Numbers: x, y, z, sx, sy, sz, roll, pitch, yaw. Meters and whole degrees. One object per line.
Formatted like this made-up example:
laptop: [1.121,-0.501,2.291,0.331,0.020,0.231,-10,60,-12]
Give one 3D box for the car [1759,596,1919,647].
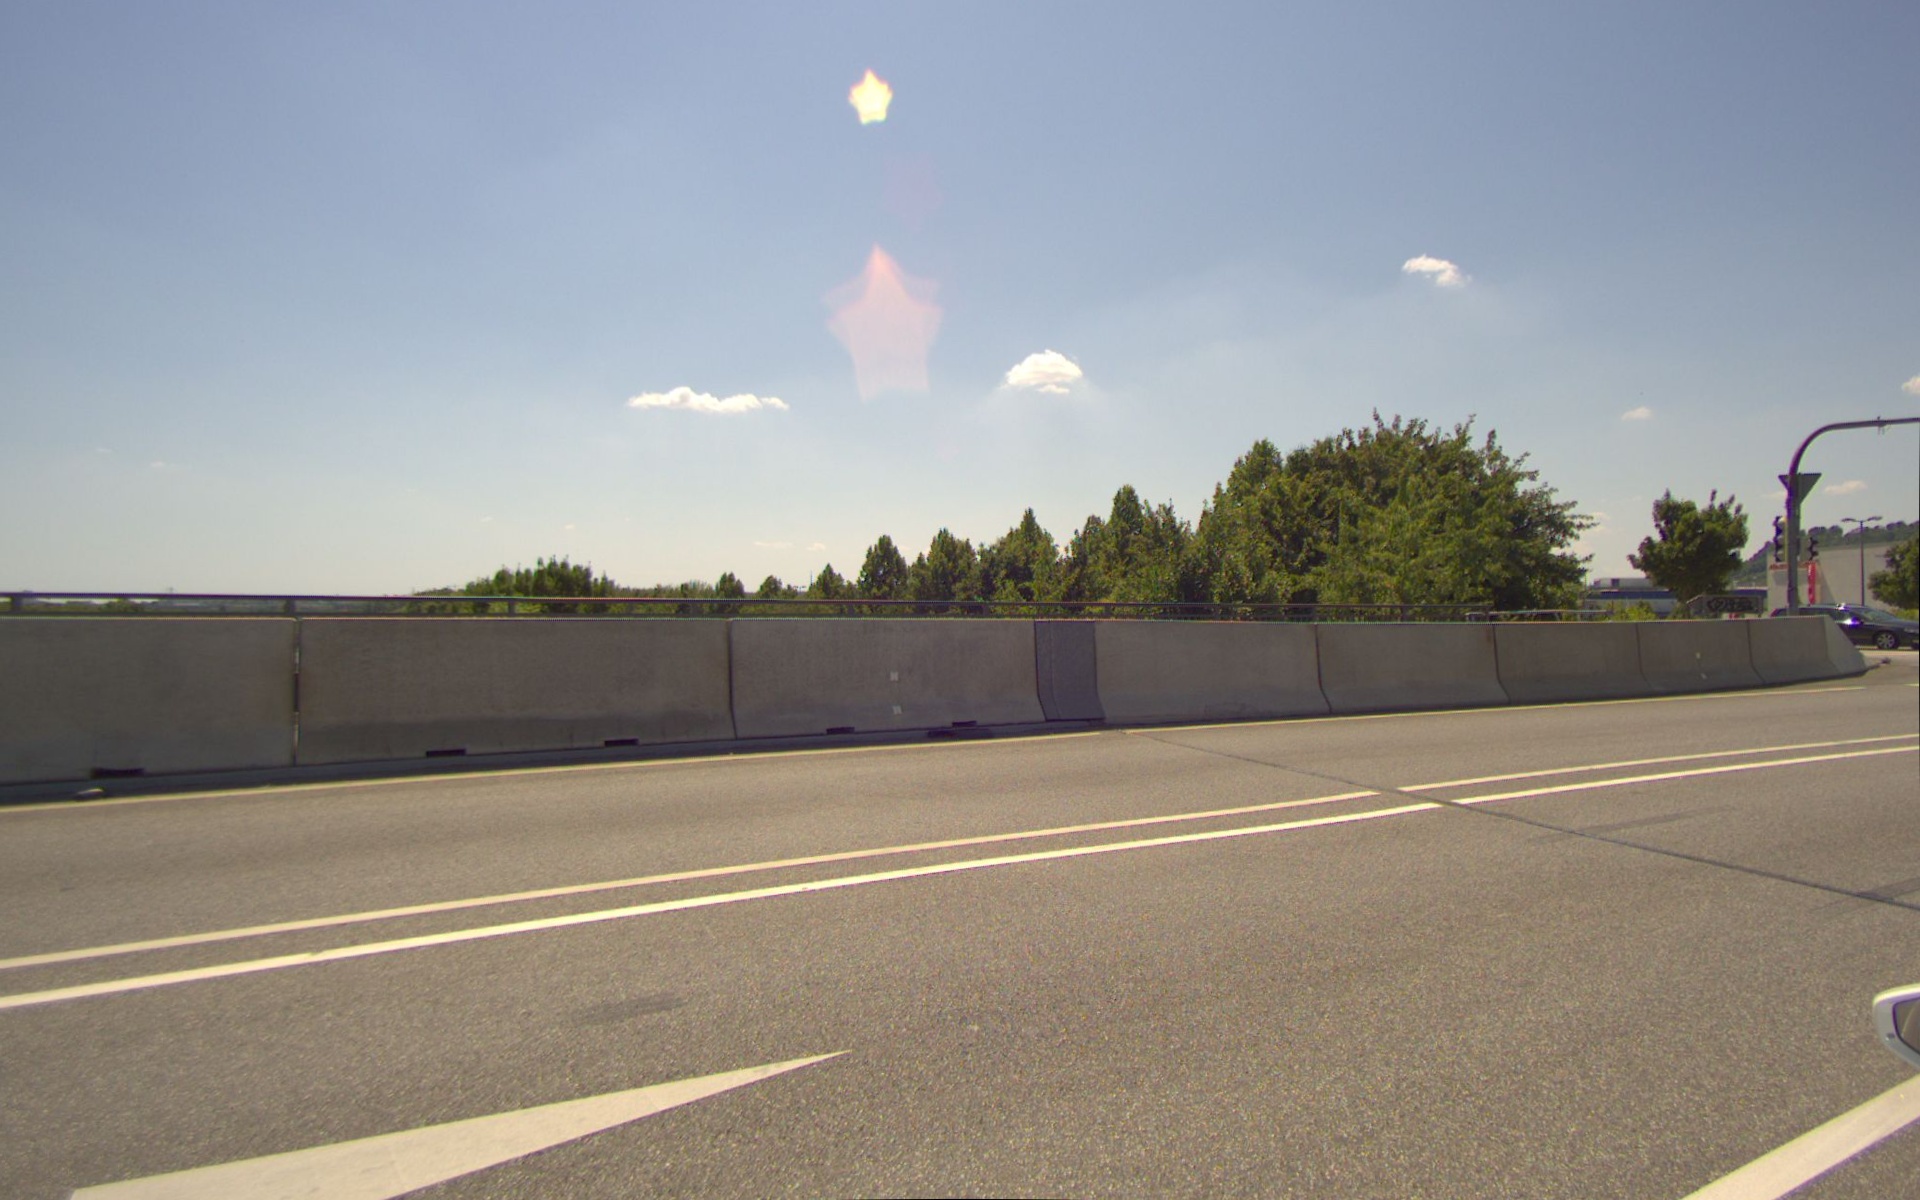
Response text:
car: [29.595,0.659,33.217,1.716,1.566,4.697,0,0,-29]
